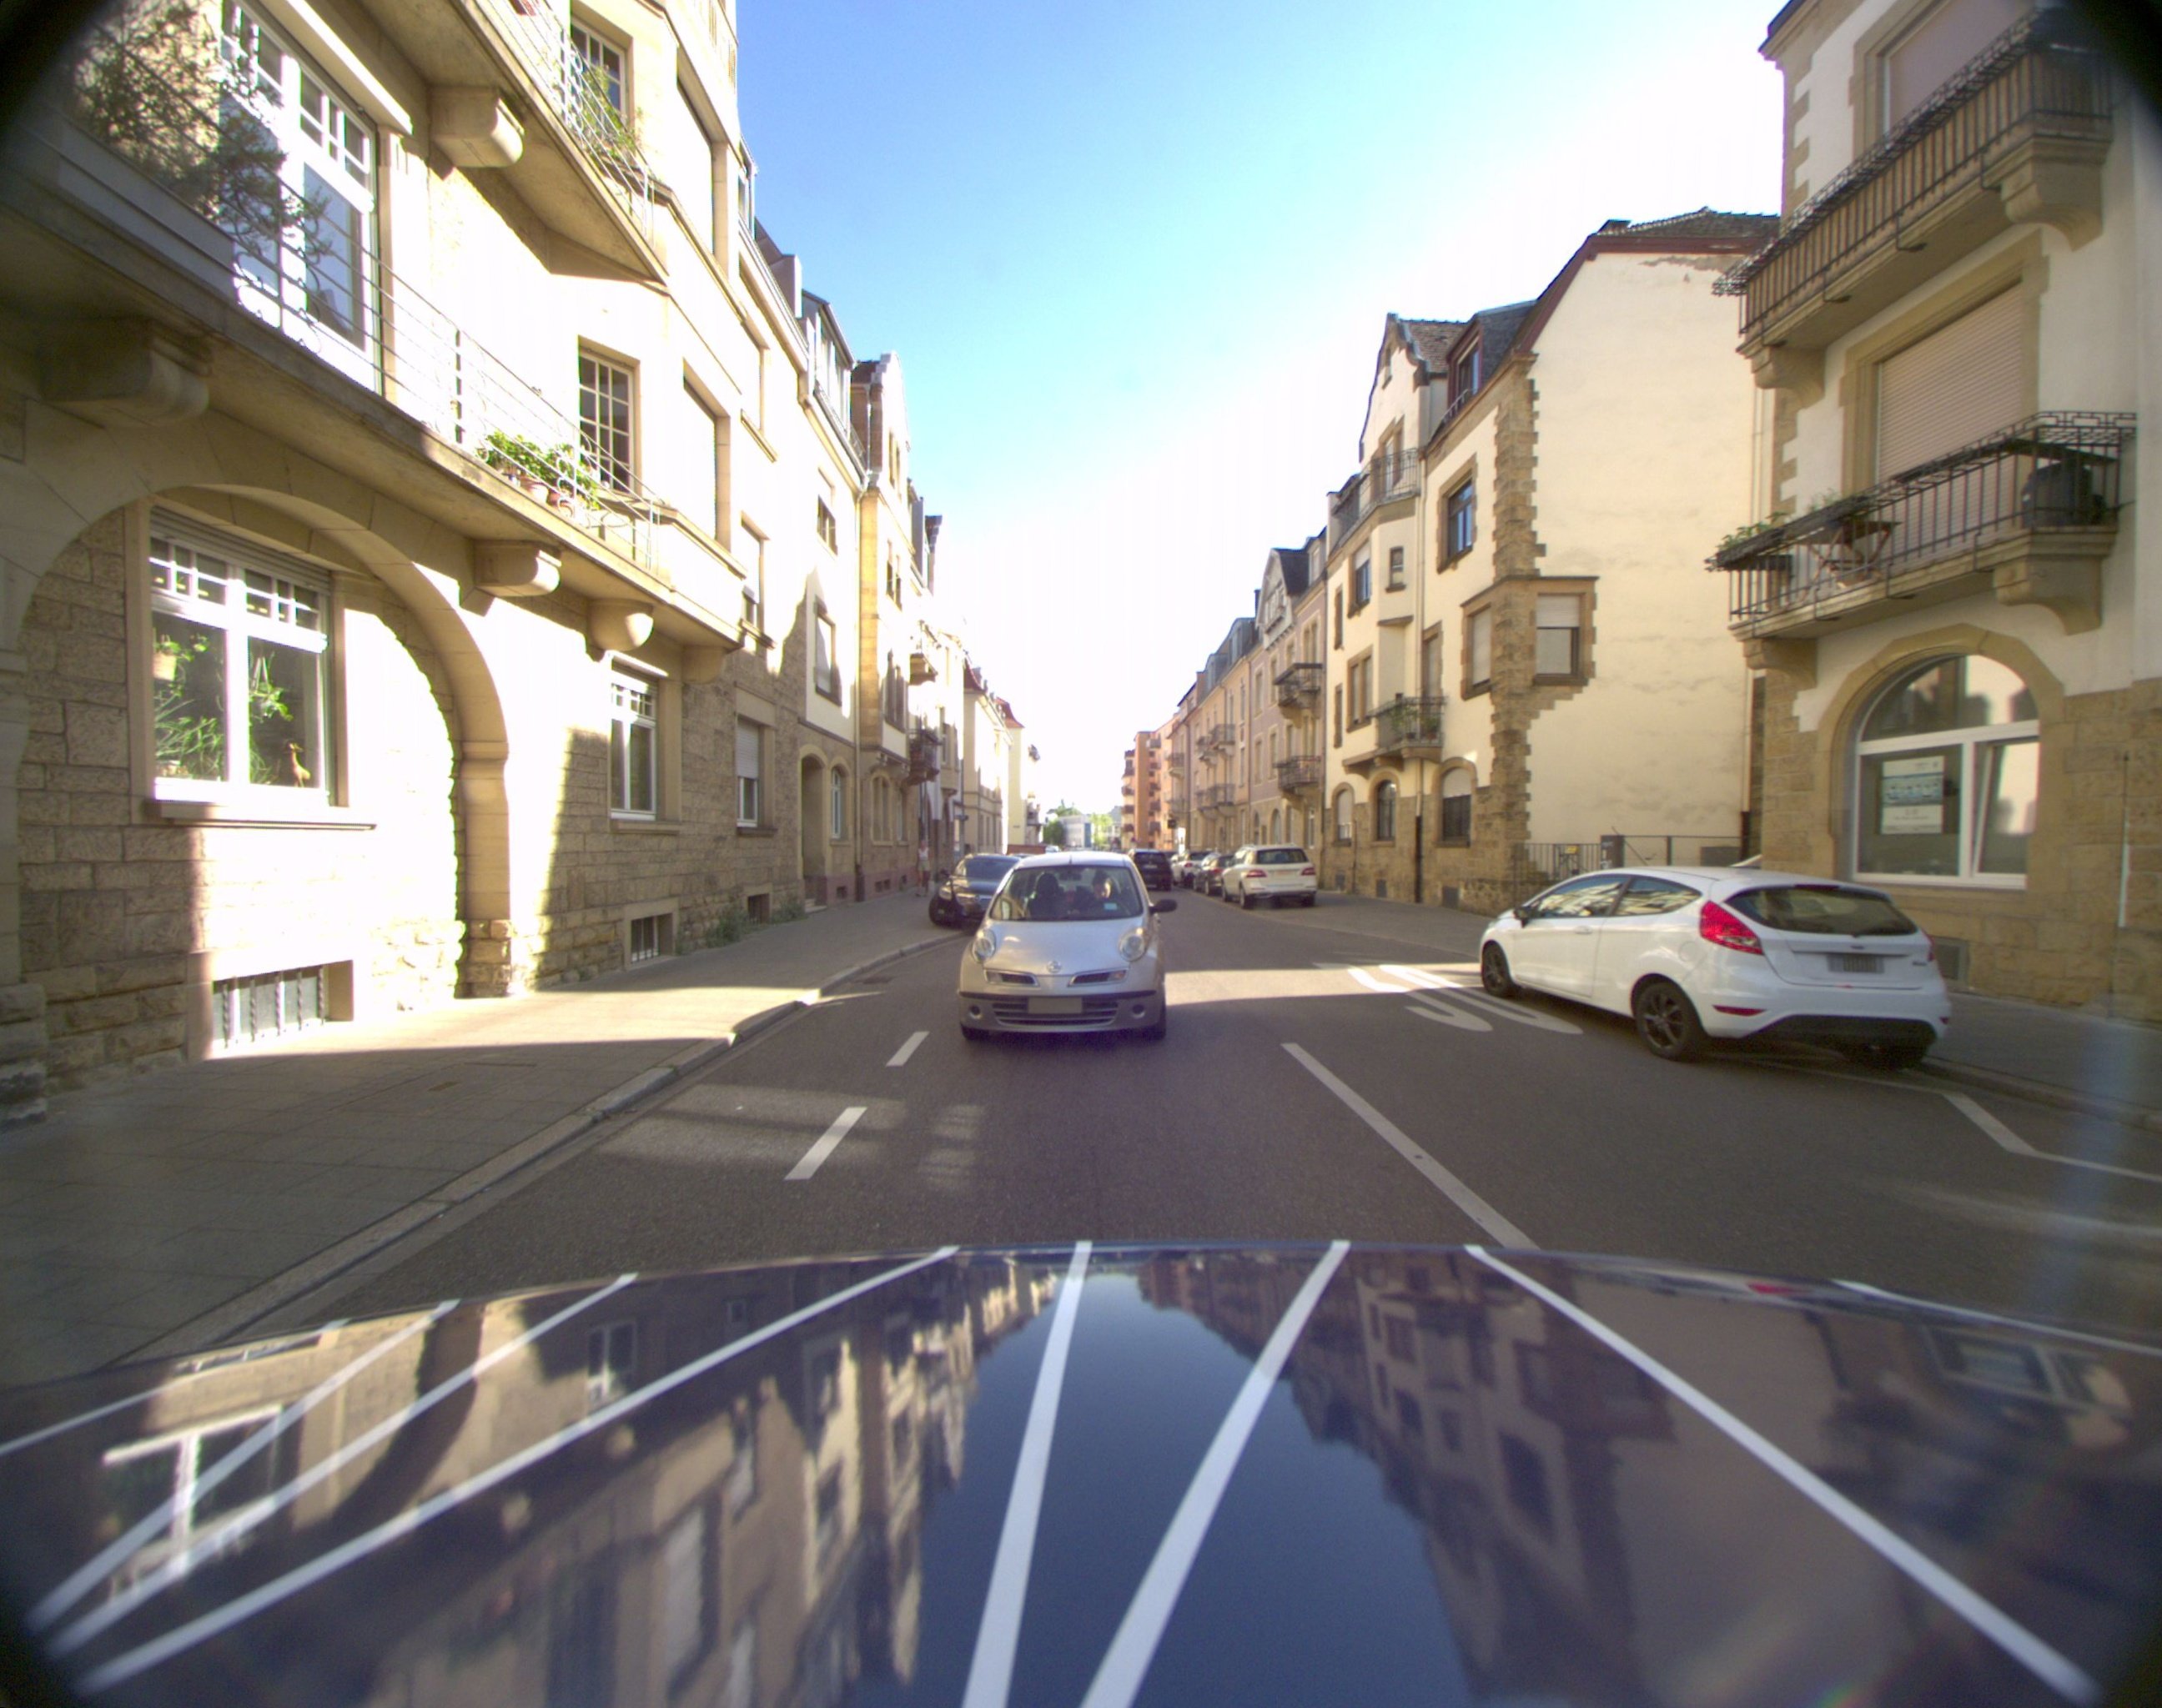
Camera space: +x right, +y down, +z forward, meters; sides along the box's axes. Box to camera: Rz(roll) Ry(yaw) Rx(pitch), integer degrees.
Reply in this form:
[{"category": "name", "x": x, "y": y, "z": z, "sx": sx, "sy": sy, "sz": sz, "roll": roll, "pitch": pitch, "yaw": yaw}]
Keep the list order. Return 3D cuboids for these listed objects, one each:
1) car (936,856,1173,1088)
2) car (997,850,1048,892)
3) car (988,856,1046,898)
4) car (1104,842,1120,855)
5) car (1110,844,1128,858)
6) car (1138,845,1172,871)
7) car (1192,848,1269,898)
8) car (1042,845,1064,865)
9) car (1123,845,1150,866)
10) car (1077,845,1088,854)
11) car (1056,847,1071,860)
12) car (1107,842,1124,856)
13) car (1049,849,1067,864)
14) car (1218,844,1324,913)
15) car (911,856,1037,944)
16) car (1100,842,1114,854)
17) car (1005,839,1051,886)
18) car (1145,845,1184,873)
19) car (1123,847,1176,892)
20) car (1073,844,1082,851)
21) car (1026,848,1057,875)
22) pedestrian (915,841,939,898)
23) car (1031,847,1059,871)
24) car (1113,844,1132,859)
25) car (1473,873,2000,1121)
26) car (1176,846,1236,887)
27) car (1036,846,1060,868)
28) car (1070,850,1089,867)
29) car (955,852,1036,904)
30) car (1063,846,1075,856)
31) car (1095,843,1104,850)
[{"category": "car", "x": -0.112, "y": 0.842, "z": 7.168, "sx": 1.651, "sy": 1.559, "sz": 3.616, "roll": -1, "pitch": 1, "yaw": 2}, {"category": "car", "x": -2.366, "y": 0.669, "z": 31.567, "sx": 1.833, "sy": 1.586, "sz": 3.819, "roll": -2, "pitch": 0, "yaw": -2}, {"category": "car", "x": -2.230, "y": 0.778, "z": 27.413, "sx": 1.833, "sy": 1.337, "sz": 3.819, "roll": -2, "pitch": 0, "yaw": -2}, {"category": "car", "x": 4.386, "y": -0.778, "z": 108.759, "sx": 1.917, "sy": 1.614, "sz": 4.345, "roll": -3, "pitch": 1, "yaw": -1}, {"category": "car", "x": 4.839, "y": -0.390, "z": 97.406, "sx": 1.917, "sy": 1.614, "sz": 4.345, "roll": -3, "pitch": 1, "yaw": -1}, {"category": "car", "x": 5.169, "y": 0.255, "z": 53.616, "sx": 1.917, "sy": 1.614, "sz": 4.345, "roll": -3, "pitch": 1, "yaw": 1}, {"category": "car", "x": 5.320, "y": 0.607, "z": 27.549, "sx": 1.917, "sy": 1.509, "sz": 4.345, "roll": -3, "pitch": 1, "yaw": 1}, {"category": "car", "x": -2.414, "y": 0.066, "z": 66.127, "sx": 1.833, "sy": 1.649, "sz": 3.819, "roll": -2, "pitch": 0, "yaw": -2}, {"category": "car", "x": 4.618, "y": 0.100, "z": 63.945, "sx": 1.917, "sy": 1.614, "sz": 4.345, "roll": -3, "pitch": 1, "yaw": 0}, {"category": "car", "x": 0.283, "y": -0.826, "z": 138.750, "sx": 1.877, "sy": 1.657, "sz": 3.999, "roll": -1, "pitch": 1, "yaw": 1}, {"category": "car", "x": -2.293, "y": -0.077, "z": 100.788, "sx": 1.877, "sy": 1.657, "sz": 3.999, "roll": -1, "pitch": 1, "yaw": 1}, {"category": "car", "x": 4.621, "y": -0.689, "z": 103.018, "sx": 1.917, "sy": 1.614, "sz": 4.345, "roll": -3, "pitch": 1, "yaw": -1}, {"category": "car", "x": -2.733, "y": 0.280, "z": 89.512, "sx": 1.877, "sy": 1.657, "sz": 3.999, "roll": -1, "pitch": 1, "yaw": 1}, {"category": "car", "x": 5.274, "y": 0.602, "z": 21.687, "sx": 1.917, "sy": 1.650, "sz": 4.345, "roll": -3, "pitch": 1, "yaw": 1}, {"category": "car", "x": -2.107, "y": 0.869, "z": 16.175, "sx": 1.998, "sy": 1.528, "sz": 4.000, "roll": -2, "pitch": 0, "yaw": 1}, {"category": "car", "x": 4.057, "y": -0.937, "z": 118.769, "sx": 1.917, "sy": 1.614, "sz": 4.345, "roll": -3, "pitch": 1, "yaw": -1}, {"category": "car", "x": -2.472, "y": 0.376, "z": 36.035, "sx": 1.833, "sy": 2.023, "sz": 3.819, "roll": -2, "pitch": 0, "yaw": 0}, {"category": "car", "x": 5.116, "y": 0.279, "z": 47.187, "sx": 1.917, "sy": 1.509, "sz": 4.345, "roll": -3, "pitch": 1, "yaw": 1}, {"category": "car", "x": 2.776, "y": 0.572, "z": 31.445, "sx": 1.917, "sy": 1.718, "sz": 4.346, "roll": 1, "pitch": 1, "yaw": 2}, {"category": "car", "x": -0.827, "y": -1.497, "z": 180.675, "sx": 1.877, "sy": 1.657, "sz": 3.999, "roll": -1, "pitch": 1, "yaw": 1}, {"category": "car", "x": -2.493, "y": 0.480, "z": 48.724, "sx": 1.833, "sy": 1.586, "sz": 3.819, "roll": -2, "pitch": 0, "yaw": -2}, {"category": "pedestrian", "x": -4.736, "y": 0.458, "z": 23.390, "sx": 0.578, "sy": 1.712, "sz": 0.697, "roll": 1, "pitch": 1, "yaw": 0}, {"category": "car", "x": -2.557, "y": 0.340, "z": 54.648, "sx": 1.833, "sy": 1.586, "sz": 3.819, "roll": -2, "pitch": 0, "yaw": -2}, {"category": "car", "x": 5.012, "y": -0.311, "z": 92.456, "sx": 1.917, "sy": 1.614, "sz": 4.345, "roll": -3, "pitch": 1, "yaw": -1}, {"category": "car", "x": 5.129, "y": 0.963, "z": 6.674, "sx": 1.556, "sy": 1.403, "sz": 3.571, "roll": 2, "pitch": 1, "yaw": 2}, {"category": "car", "x": 5.402, "y": 0.504, "z": 33.405, "sx": 1.917, "sy": 1.509, "sz": 4.345, "roll": -3, "pitch": 1, "yaw": 1}, {"category": "car", "x": -2.631, "y": 0.192, "z": 61.075, "sx": 1.833, "sy": 1.649, "sz": 3.819, "roll": -2, "pitch": 0, "yaw": -2}, {"category": "car", "x": -0.157, "y": 0.455, "z": 78.139, "sx": 1.877, "sy": 1.657, "sz": 3.999, "roll": -1, "pitch": 1, "yaw": 1}, {"category": "car", "x": -2.441, "y": 0.645, "z": 22.612, "sx": 1.833, "sy": 1.337, "sz": 4.000, "roll": -2, "pitch": 0, "yaw": 1}, {"category": "car", "x": -1.952, "y": -0.495, "z": 124.350, "sx": 1.877, "sy": 1.657, "sz": 3.999, "roll": -1, "pitch": 1, "yaw": 1}, {"category": "car", "x": 4.871, "y": -1.974, "z": 201.890, "sx": 1.917, "sy": 1.614, "sz": 4.345, "roll": -3, "pitch": 1, "yaw": -1}]
